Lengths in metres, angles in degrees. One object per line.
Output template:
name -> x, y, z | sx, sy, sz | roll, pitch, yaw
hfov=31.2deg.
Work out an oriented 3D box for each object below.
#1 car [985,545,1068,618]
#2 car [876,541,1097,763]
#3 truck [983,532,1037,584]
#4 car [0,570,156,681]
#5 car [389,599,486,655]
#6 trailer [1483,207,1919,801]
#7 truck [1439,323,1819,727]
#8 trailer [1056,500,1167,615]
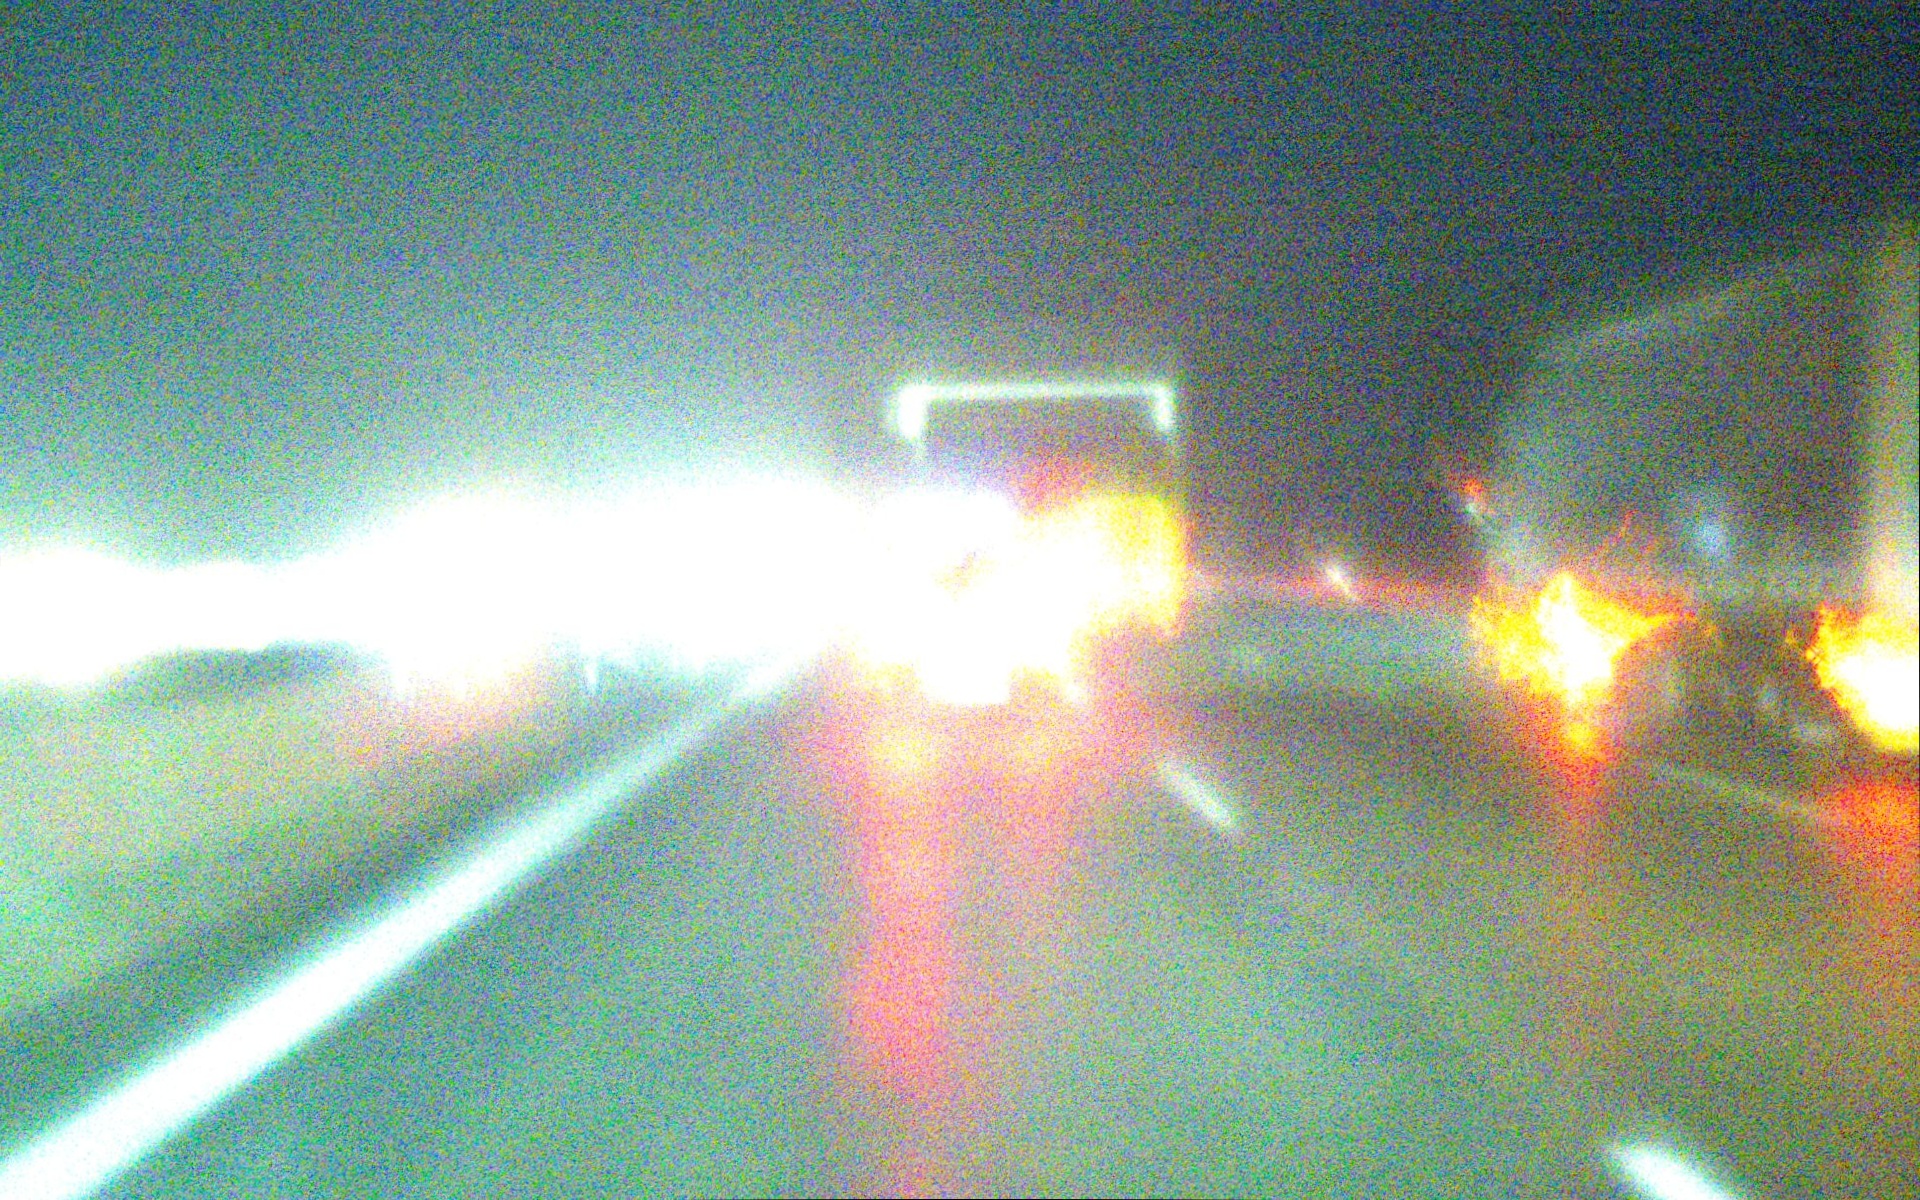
car -> 1.913, -0.525, 99.977 | 1.993, 2.007, 4.000 | -2, 0, -4
car -> 0.238, 0.503, 33.946 | 1.993, 2.007, 4.000 | 2, -1, 0
truck -> 3.439, -2.884, 239.754 | 3.037, 3.286, 11.381 | -2, 0, -2
car -> -17.079, 0.458, 65.738 | 1.993, 2.007, 5.360 | -1, 0, 2
car -> -14.336, 0.723, 94.562 | 1.993, 1.436, 4.437 | -1, 0, 0
trailer -> 7.419, -0.743, 31.035 | 2.903, 4.094, 14.488 | -2, 0, -1
truck -> 7.337, -0.795, 38.546 | 2.903, 4.094, 6.031 | -2, 0, -1
trailer -> 5.742, -1.527, 133.054 | 3.041, 4.095, 13.829 | -2, 0, -2
